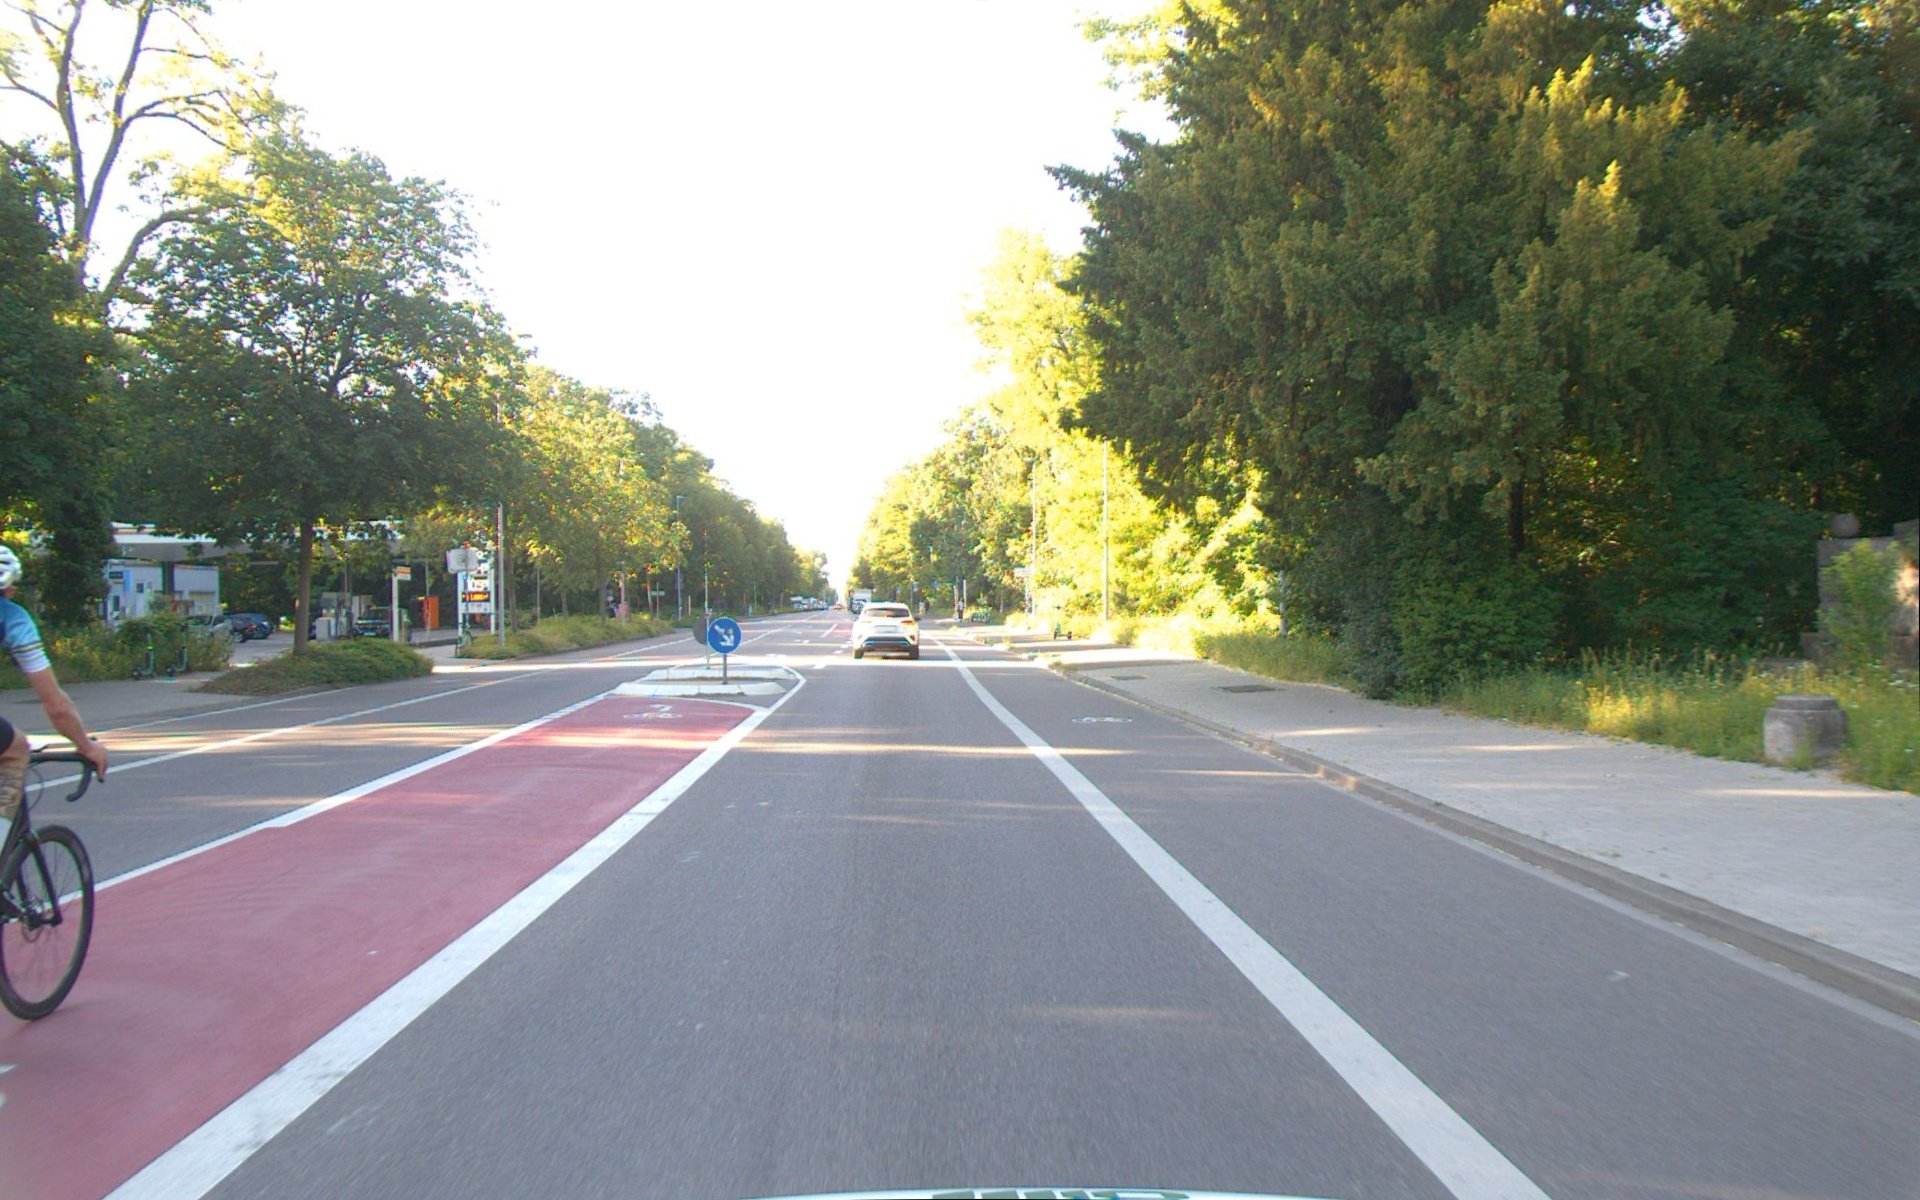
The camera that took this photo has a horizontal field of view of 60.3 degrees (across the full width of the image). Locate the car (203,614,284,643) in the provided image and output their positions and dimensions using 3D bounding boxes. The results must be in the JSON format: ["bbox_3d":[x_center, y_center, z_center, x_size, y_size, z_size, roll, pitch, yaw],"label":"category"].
[{"bbox_3d":[-41.537,1.650,95.961,3.913,1.582,1.895,-1,0,-9],"label":"car"}]

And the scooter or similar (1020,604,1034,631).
[{"bbox_3d":[3.221,0.818,79.686,0.522,1.272,1.540,-1,0,-3],"label":"scooter or similar"}]

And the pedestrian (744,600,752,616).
[{"bbox_3d":[-27.664,1.051,215.959,0.846,2.049,1.268,-1,0,-5],"label":"pedestrian"}]

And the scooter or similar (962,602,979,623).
[{"bbox_3d":[0.714,0.859,113.041,0.672,1.448,1.672,-1,0,-19],"label":"scooter or similar"}]

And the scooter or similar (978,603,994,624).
[{"bbox_3d":[1.690,0.897,107.247,0.460,1.329,1.469,-1,0,-25],"label":"scooter or similar"}]

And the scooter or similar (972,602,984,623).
[{"bbox_3d":[1.265,0.844,114.390,0.668,1.448,1.680,-1,0,-3],"label":"scooter or similar"}]

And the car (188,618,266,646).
[{"bbox_3d":[-38.798,1.683,87.579,3.566,1.377,1.707,-1,0,-18],"label":"car"}]

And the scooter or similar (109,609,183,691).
[{"bbox_3d":[-18.086,1.093,36.794,0.811,1.747,1.740,-1,0,-3],"label":"scooter or similar"}]

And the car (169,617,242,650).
[{"bbox_3d":[-34.272,1.487,75.229,1.677,1.400,4.056,-1,0,-4],"label":"car"}]

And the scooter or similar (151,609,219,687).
[{"bbox_3d":[-18.135,1.107,38.736,0.811,1.747,1.740,-1,0,-3],"label":"scooter or similar"}]

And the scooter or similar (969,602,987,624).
[{"bbox_3d":[1.213,0.847,111.391,0.672,1.448,1.672,-1,0,-19],"label":"scooter or similar"}]

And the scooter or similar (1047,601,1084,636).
[{"bbox_3d":[3.941,0.693,61.855,0.525,1.272,1.531,-2,0,43],"label":"scooter or similar"}]

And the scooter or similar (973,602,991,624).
[{"bbox_3d":[1.454,0.838,109.332,0.671,1.448,1.673,-1,0,-17],"label":"scooter or similar"}]

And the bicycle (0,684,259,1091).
[{"bbox_3d":[-3.261,0.902,5.501,0.872,1.114,2.136,-1,0,2],"label":"bicycle"}]

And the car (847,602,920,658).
[{"bbox_3d":[-2.154,0.803,45.924,1.728,1.485,3.812,1,0,-7],"label":"car"}]

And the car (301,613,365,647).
[{"bbox_3d":[-30.573,1.444,80.790,1.677,1.524,4.574,-1,0,-4],"label":"car"}]

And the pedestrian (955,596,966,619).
[{"bbox_3d":[0.038,0.552,116.840,0.739,1.591,0.802,-1,0,1],"label":"pedestrian"}]

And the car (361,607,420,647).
[{"bbox_3d":[-26.260,1.228,76.429,1.678,1.721,4.446,-1,0,-7],"label":"car"}]

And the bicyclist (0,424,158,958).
[{"bbox_3d":[-3.263,0.267,5.389,0.842,1.594,0.881,0,0,2],"label":"bicyclist"}]

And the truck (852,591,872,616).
[{"bbox_3d":[-14.557,0.484,246.415,2.745,3.632,8.026,0,0,-5],"label":"truck"}]

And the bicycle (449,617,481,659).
[{"bbox_3d":[-15.770,1.198,52.713,0.642,1.272,2.155,-1,0,-8],"label":"bicycle"}]

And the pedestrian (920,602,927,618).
[{"bbox_3d":[-3.810,1.026,172.911,0.684,1.682,0.875,-1,0,-4],"label":"pedestrian"}]
